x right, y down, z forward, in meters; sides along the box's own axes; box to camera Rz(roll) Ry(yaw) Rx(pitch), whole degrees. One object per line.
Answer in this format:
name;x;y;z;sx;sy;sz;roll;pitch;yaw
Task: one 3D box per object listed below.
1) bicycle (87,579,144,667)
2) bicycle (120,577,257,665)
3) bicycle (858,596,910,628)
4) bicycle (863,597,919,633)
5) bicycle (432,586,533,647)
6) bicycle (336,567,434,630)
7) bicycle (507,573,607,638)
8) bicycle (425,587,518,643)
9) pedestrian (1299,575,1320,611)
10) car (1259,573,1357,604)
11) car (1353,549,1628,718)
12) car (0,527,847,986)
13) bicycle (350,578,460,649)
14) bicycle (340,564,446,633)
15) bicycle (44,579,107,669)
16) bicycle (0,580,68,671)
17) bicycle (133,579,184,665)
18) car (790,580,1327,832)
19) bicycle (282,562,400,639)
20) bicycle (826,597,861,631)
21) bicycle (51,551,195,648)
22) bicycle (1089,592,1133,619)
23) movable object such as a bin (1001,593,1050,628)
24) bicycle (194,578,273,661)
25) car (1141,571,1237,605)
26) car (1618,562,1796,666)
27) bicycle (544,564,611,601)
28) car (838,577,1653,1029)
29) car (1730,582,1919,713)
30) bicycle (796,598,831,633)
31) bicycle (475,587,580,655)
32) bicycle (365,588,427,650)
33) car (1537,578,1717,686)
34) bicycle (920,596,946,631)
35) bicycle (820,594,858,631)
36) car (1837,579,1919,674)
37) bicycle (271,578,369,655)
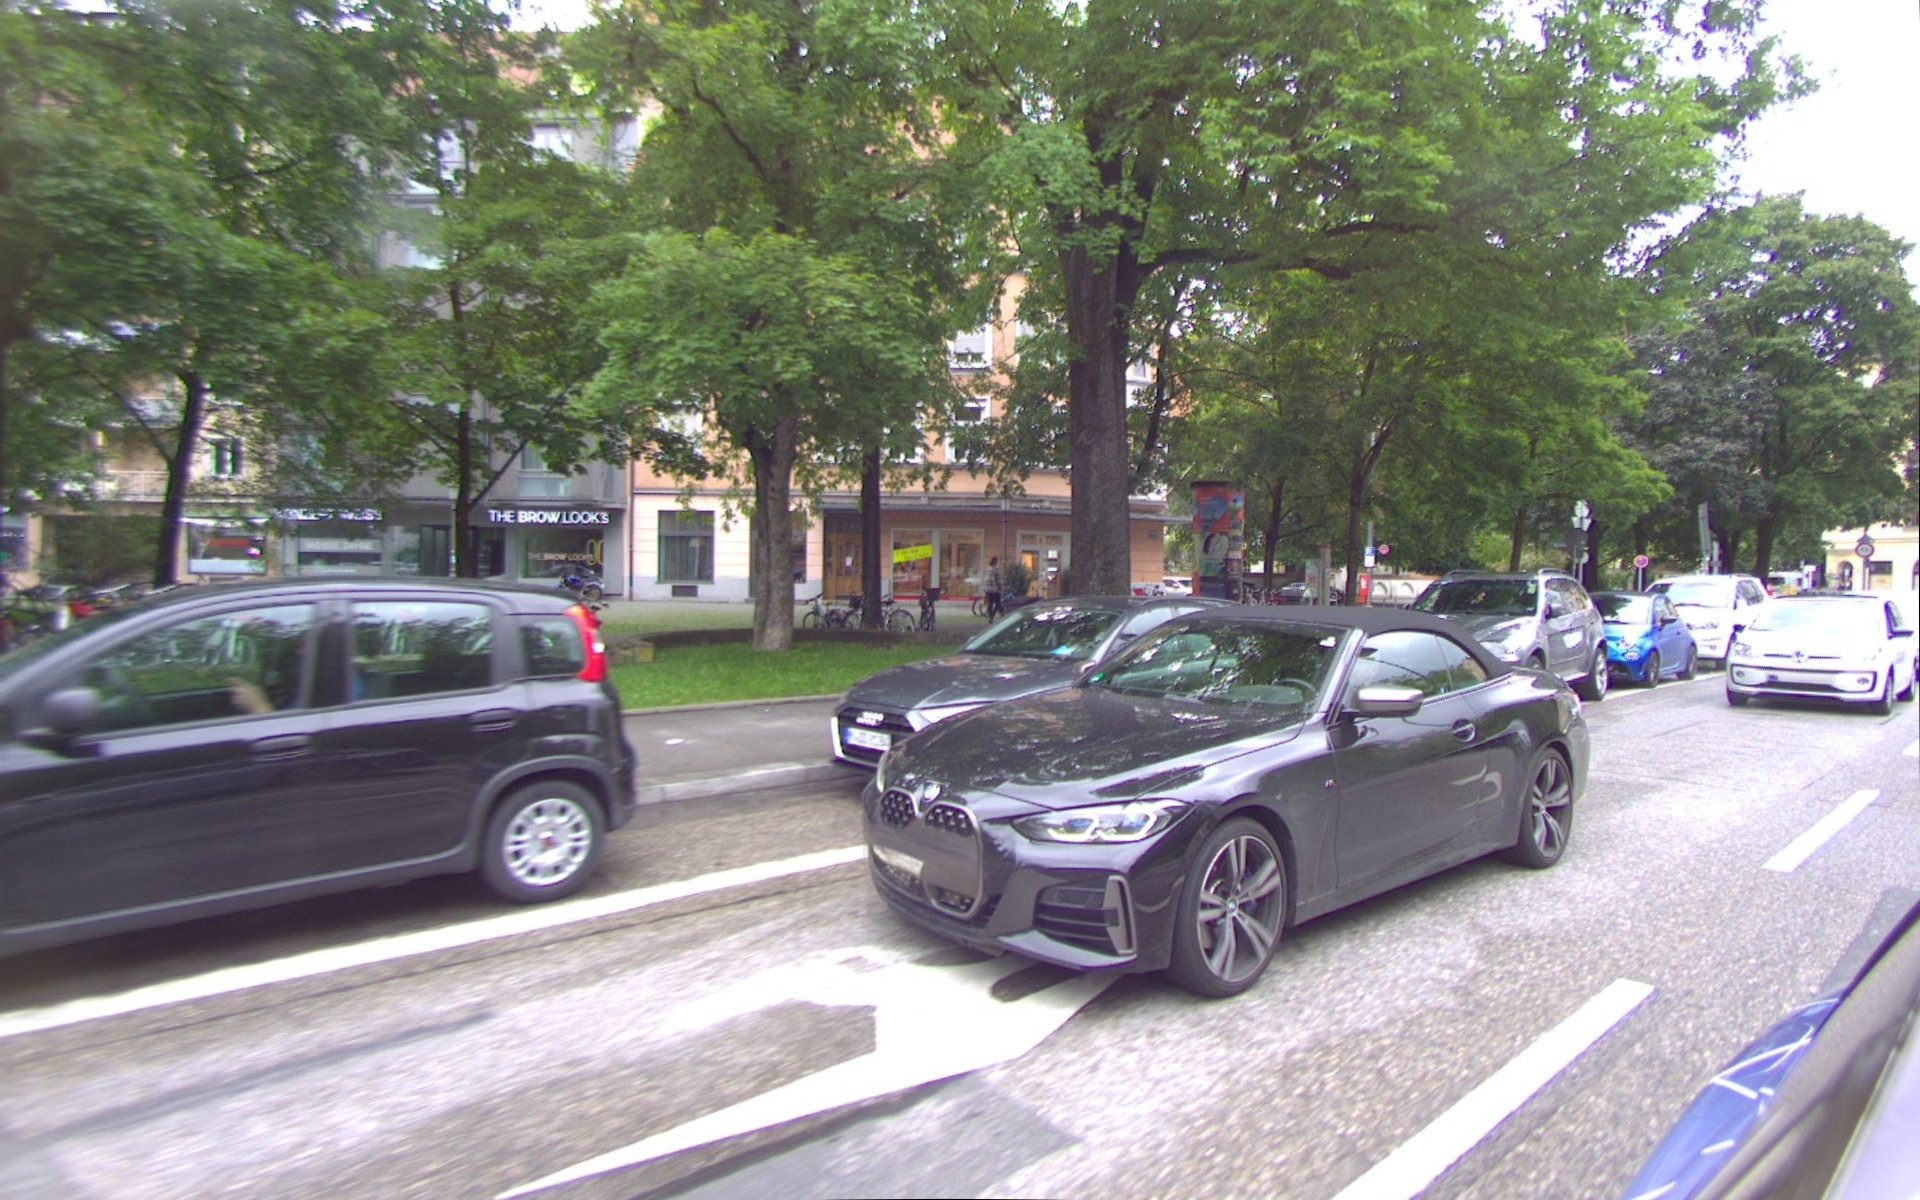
bicycle;-9.236;0.233;11.094;0.307;0.905;1.413;-1;1;-33
bicycle;-12.743;0.335;16.697;2.439;1.374;0.626;-1;0;22
bicycle;-1.791;0.278;23.838;1.154;0.732;0.320;-1;0;-19
bicycle;-1.459;0.308;21.524;1.155;0.732;0.319;-1;0;-30
bicycle;-7.437;0.247;15.790;1.386;0.905;0.313;-1;1;-35
bicycle;-13.852;-0.057;24.375;2.439;1.373;0.626;3;2;21
bicycle;-5.756;0.084;14.439;1.391;0.905;0.312;-1;0;13
bicycle;-8.251;0.239;17.120;1.386;0.905;0.313;-1;1;-35
pedestrian;15.282;-0.311;44.281;0.632;1.571;0.603;-1;0;-35
car;17.255;-0.577;50.372;1.824;1.485;4.446;-1;1;-31
car;7.100;0.316;13.314;4.480;1.842;1.933;-1;2;-45
car;-2.935;0.499;4.926;4.473;1.568;1.835;0;2;-40
bicycle;-7.230;0.172;13.190;1.391;0.905;0.312;-1;0;13
bicycle;-12.590;-0.047;22.452;2.439;1.373;0.626;3;2;21
bicycle;-9.513;0.240;10.905;0.307;0.905;1.413;-1;1;-33
bicycle;-9.785;0.247;10.713;0.307;0.905;1.413;-1;1;-33
bicycle;-8.933;0.225;11.305;0.307;0.905;1.413;-1;1;-33
car;1.035;0.601;8.257;4.563;1.479;1.770;-1;2;-43
bicycle;-12.335;-0.016;20.155;2.439;1.373;0.626;3;2;21
bicycle;-2.655;0.306;22.918;0.313;0.732;1.179;-1;1;-31
bicycle;-12.911;-0.035;15.598;2.440;1.373;0.626;2;1;22
bicycle;4.198;0.149;28.143;1.157;0.732;0.319;-1;0;4
movable object such as a bin;1.740;0.260;27.059;0.759;0.883;1.182;0;2;-32
bicycle;-8.367;0.211;11.641;1.403;0.905;0.309;0;0;36
car;10.673;-0.553;47.507;1.824;1.485;4.446;-1;1;-31
car;15.313;0.203;20.634;4.936;1.879;1.847;-1;2;-41
bicycle;-13.898;-0.635;36.792;2.204;1.305;0.507;-1;0;-4
car;1.824;0.612;5.348;4.712;1.406;1.728;0;2;-39
car;11.726;0.517;13.493;3.557;1.484;1.647;-1;2;-42
bicycle;-3.212;0.326;22.173;0.313;0.732;1.179;-1;1;-31
bicycle;-5.898;0.286;13.798;1.391;0.905;0.312;-1;0;13
bicycle;-8.705;0.268;15.660;0.307;0.905;1.414;-1;1;-7
car;11.028;0.439;16.653;3.598;1.568;1.523;0;2;-41
bicycle;-0.609;0.283;22.309;0.312;0.732;1.181;-1;1;-14
bicycle;-2.540;0.249;21.160;0.313;0.732;1.179;-1;1;-31
car;17.100;0.419;18.081;3.820;1.549;1.647;-1;2;-42
bicycle;-7.948;0.190;12.560;1.397;0.905;0.311;1;1;24
